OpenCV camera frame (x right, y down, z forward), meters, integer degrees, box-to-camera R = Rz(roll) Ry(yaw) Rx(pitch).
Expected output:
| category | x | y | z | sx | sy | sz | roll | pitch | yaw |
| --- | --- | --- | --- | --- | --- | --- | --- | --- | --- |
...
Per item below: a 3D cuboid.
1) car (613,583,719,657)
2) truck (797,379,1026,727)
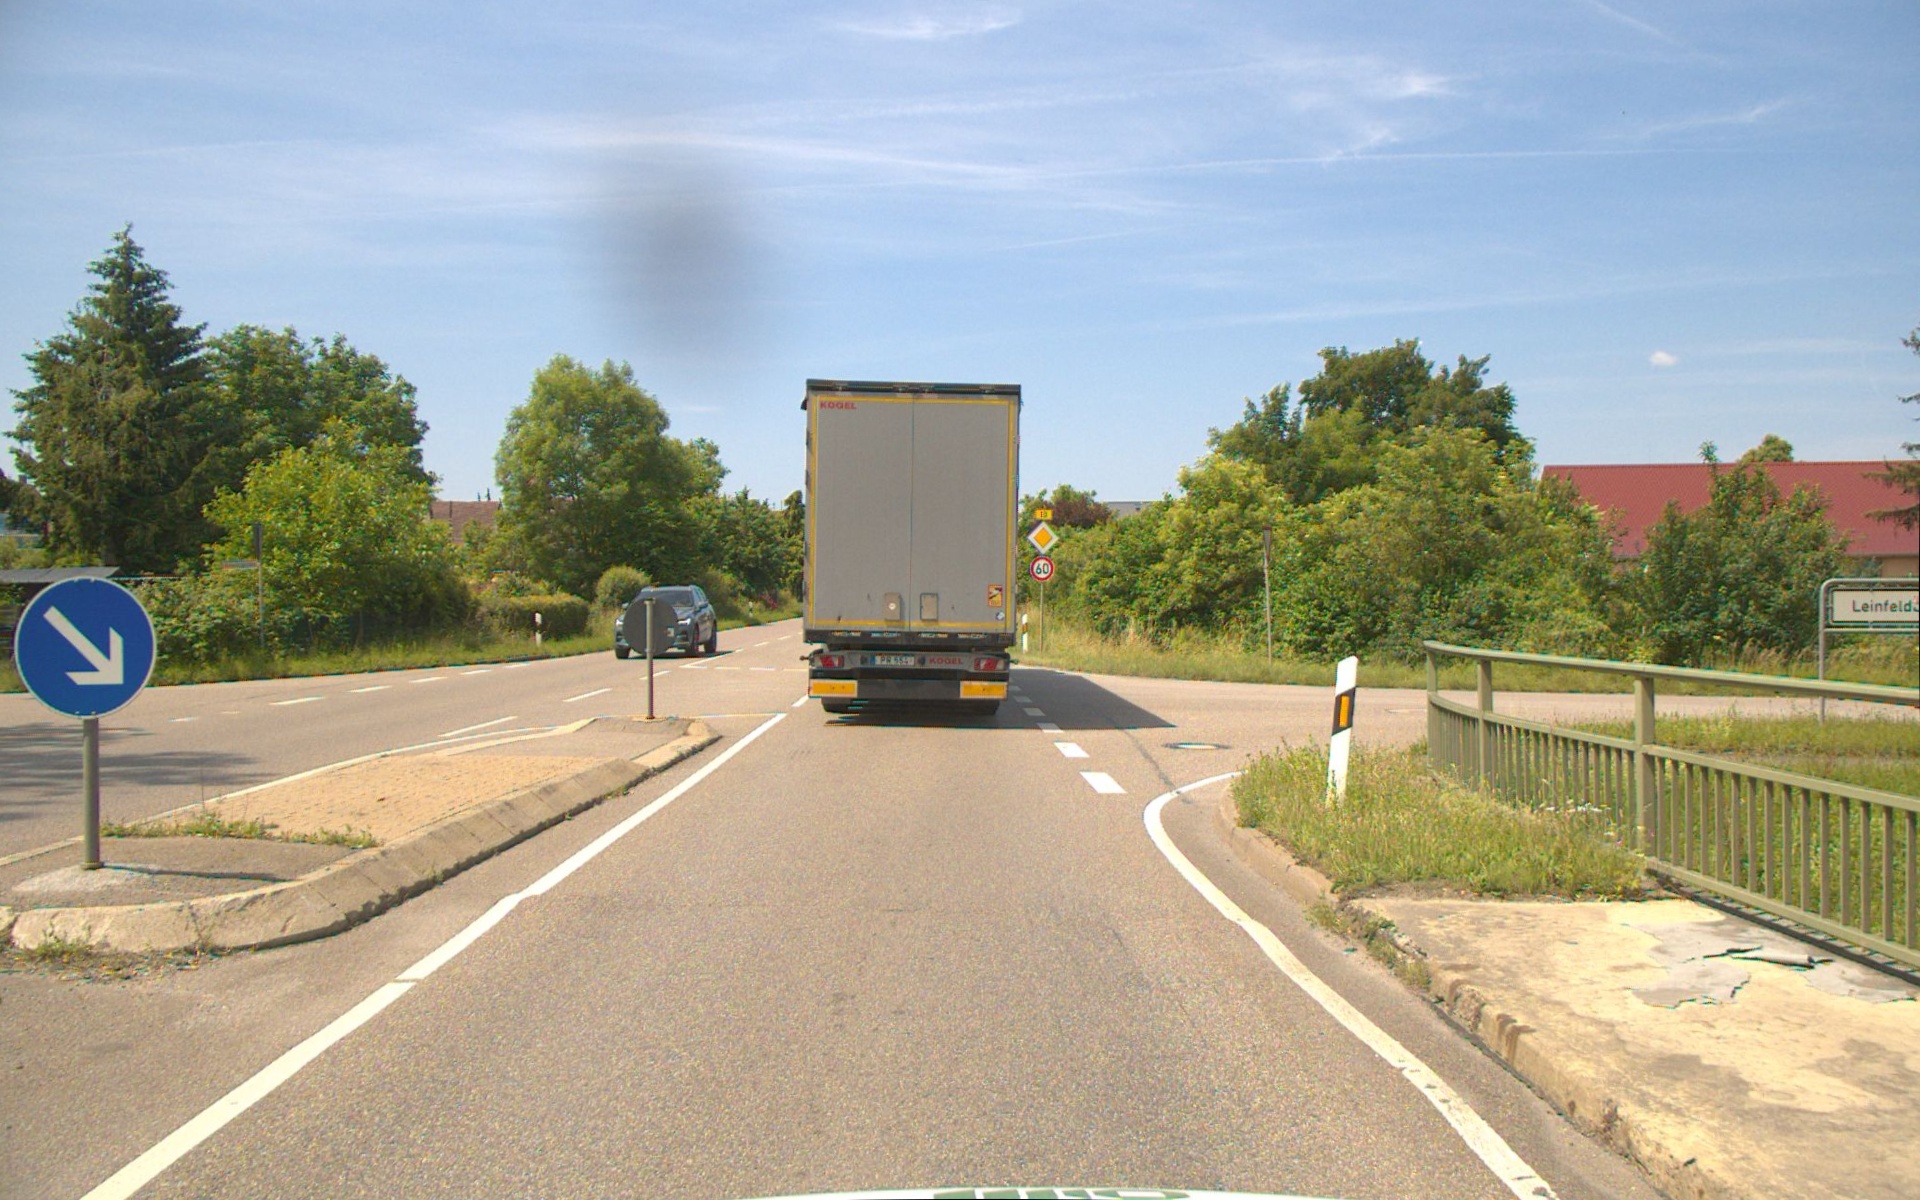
| category | x | y | z | sx | sy | sz | roll | pitch | yaw |
| --- | --- | --- | --- | --- | --- | --- | --- | --- | --- |
| car | -7.018 | 0.453 | 39.894 | 1.909 | 1.683 | 4.430 | 0 | 0 | -2 |
| truck | -0.773 | -0.559 | 23.543 | 2.594 | 3.985 | 8.820 | 1 | 0 | -3 |
